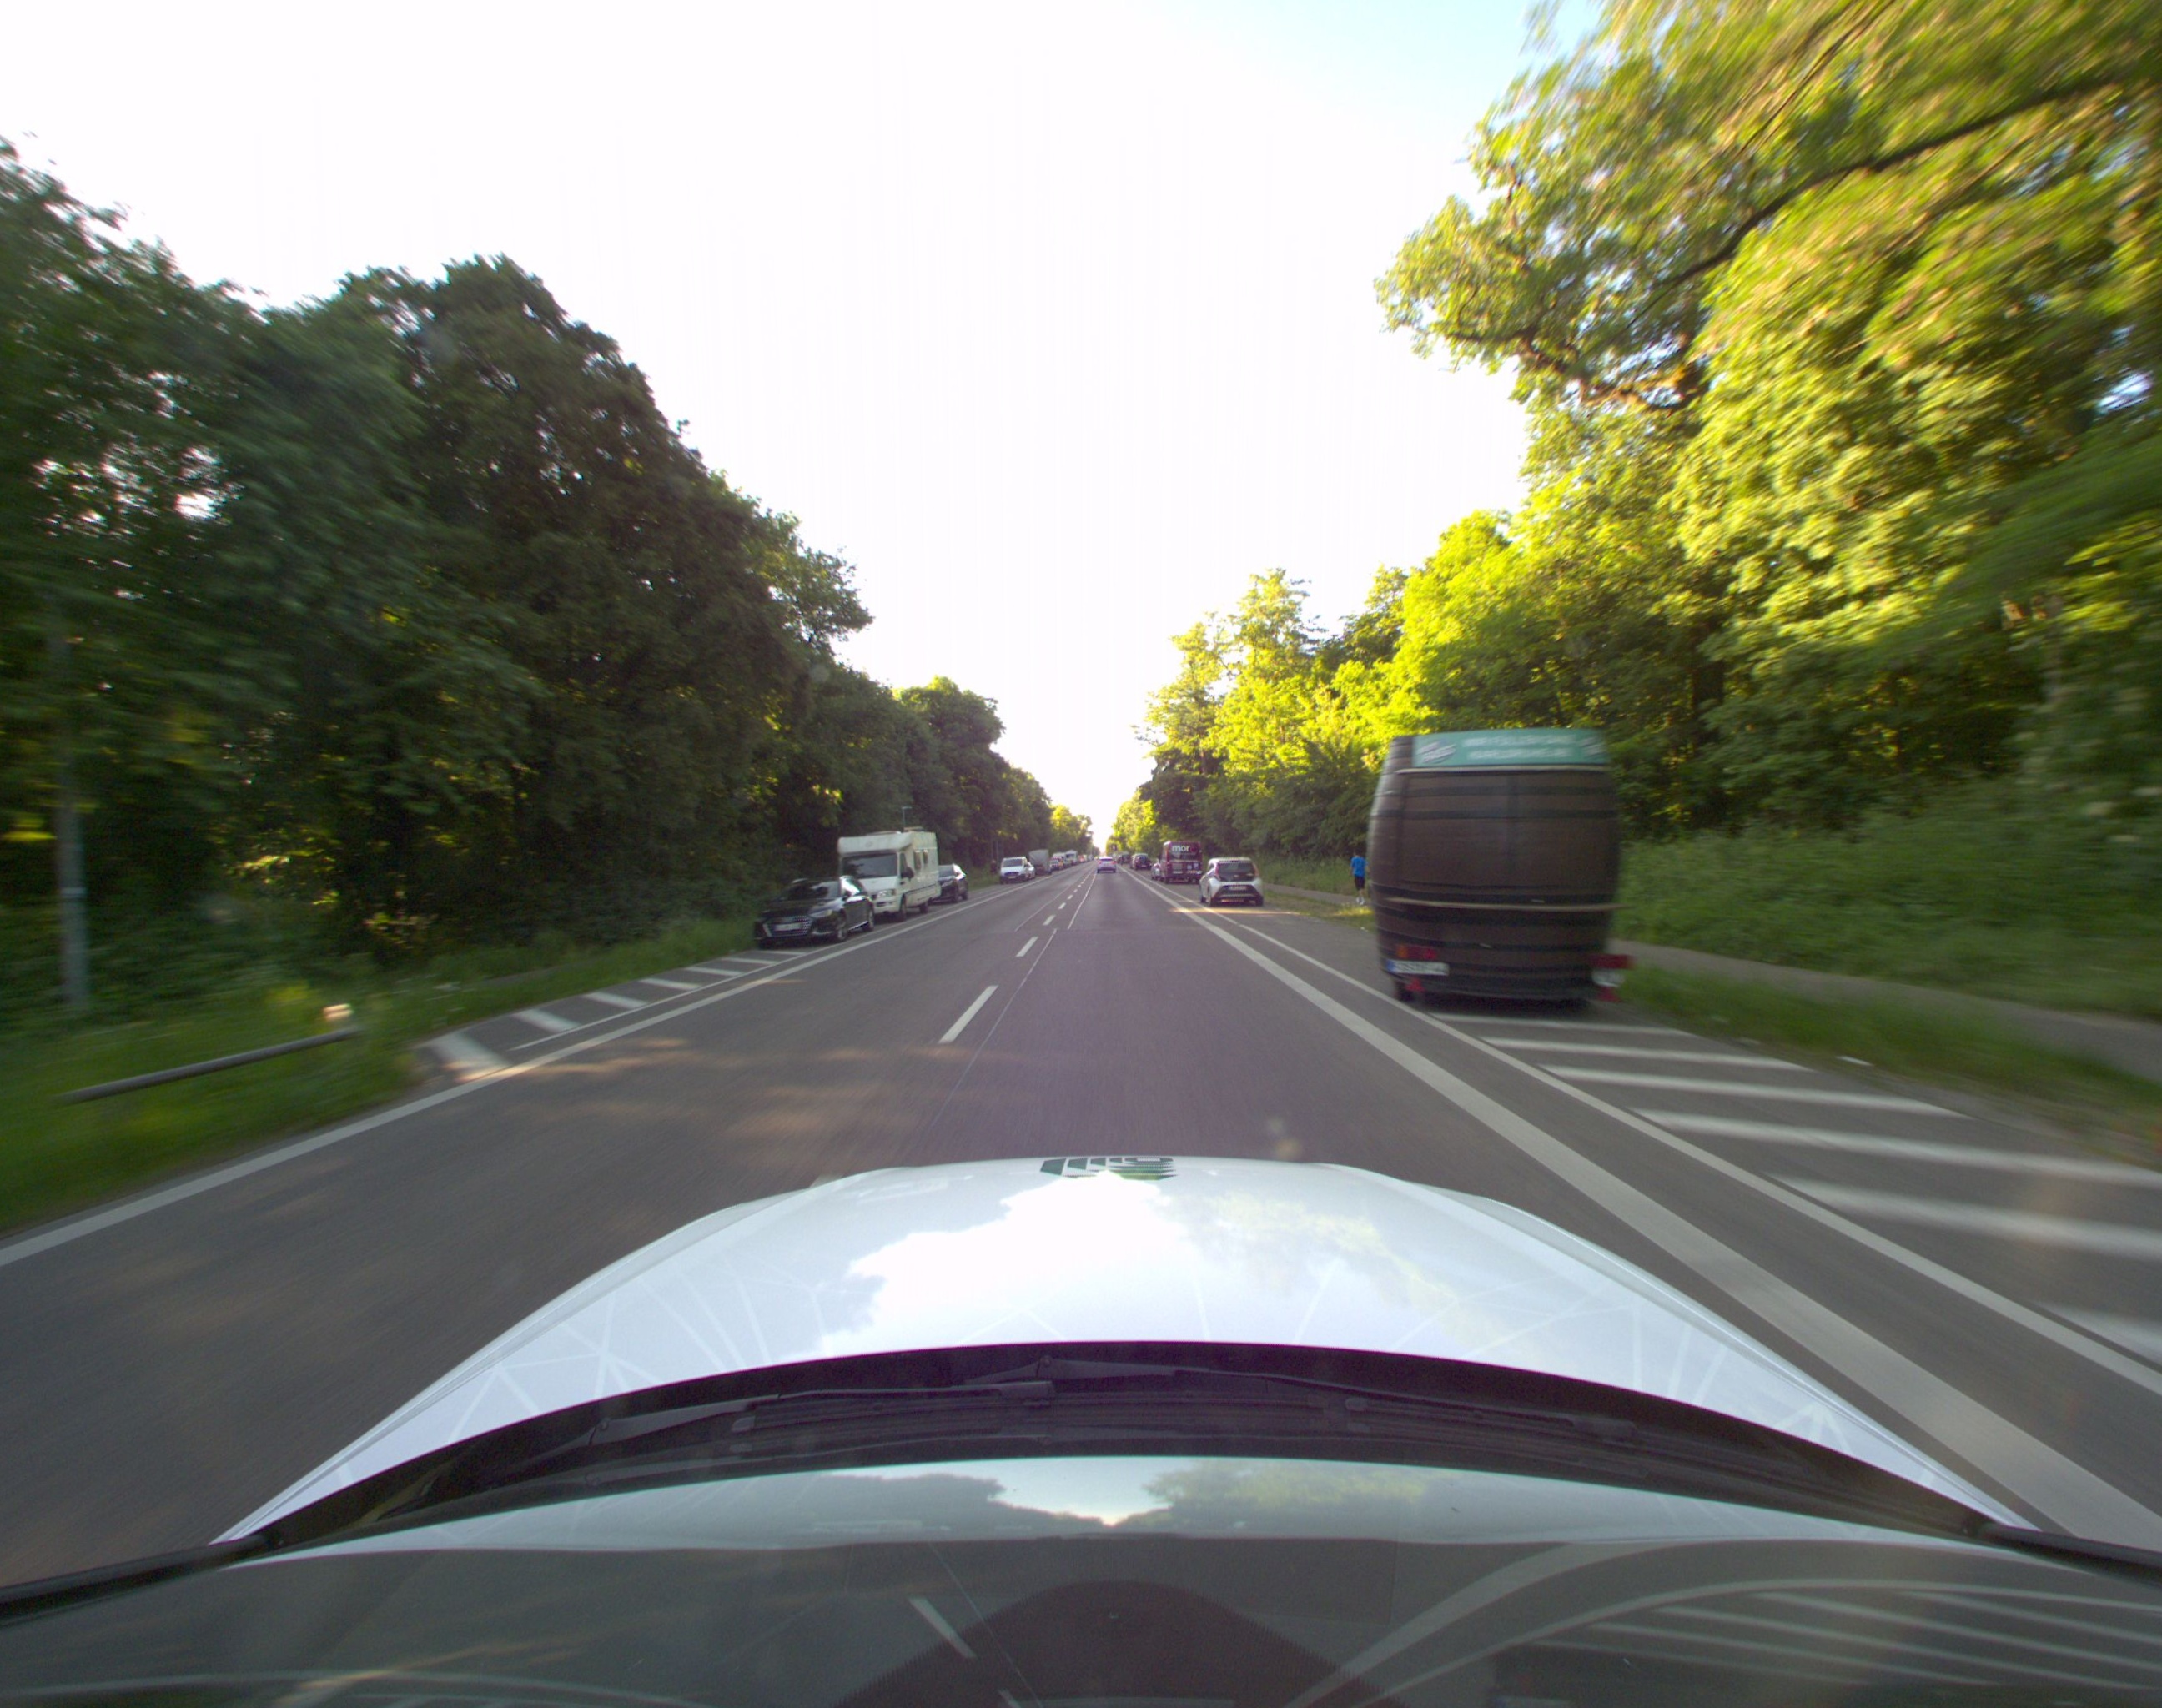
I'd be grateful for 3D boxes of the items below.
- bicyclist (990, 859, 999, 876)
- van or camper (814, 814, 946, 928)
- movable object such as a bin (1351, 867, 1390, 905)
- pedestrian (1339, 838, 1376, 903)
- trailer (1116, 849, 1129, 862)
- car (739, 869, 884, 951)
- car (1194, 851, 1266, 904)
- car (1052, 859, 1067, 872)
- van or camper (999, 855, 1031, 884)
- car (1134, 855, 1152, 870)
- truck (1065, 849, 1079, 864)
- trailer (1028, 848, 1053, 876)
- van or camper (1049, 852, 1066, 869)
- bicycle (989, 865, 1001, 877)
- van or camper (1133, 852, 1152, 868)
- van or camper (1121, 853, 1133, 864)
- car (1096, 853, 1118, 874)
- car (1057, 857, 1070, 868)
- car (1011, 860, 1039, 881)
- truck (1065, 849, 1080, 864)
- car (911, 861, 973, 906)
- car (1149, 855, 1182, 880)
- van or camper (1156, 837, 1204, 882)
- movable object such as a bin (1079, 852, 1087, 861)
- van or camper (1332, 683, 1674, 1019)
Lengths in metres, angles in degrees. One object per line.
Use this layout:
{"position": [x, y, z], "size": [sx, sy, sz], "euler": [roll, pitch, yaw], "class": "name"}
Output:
{"position": [-7.451, 1.156, 70.432], "size": [0.602, 1.374, 0.799], "euler": [-2, 0, 2], "class": "bicyclist"}
{"position": [-6.146, 0.483, 26.072], "size": [2.308, 2.969, 7.108], "euler": [-5, 0, -1], "class": "van or camper"}
{"position": [8.501, 0.939, 23.969], "size": [0.786, 1.047, 0.987], "euler": [-2, 0, 1], "class": "movable object such as a bin"}
{"position": [8.492, 0.504, 25.019], "size": [0.765, 1.918, 0.920], "euler": [-2, 0, 1], "class": "pedestrian"}
{"position": [9.794, 0.433, 191.694], "size": [2.747, 2.870, 6.591], "euler": [-2, 0, 2], "class": "trailer"}
{"position": [-6.057, 1.184, 18.939], "size": [1.822, 1.476, 4.678], "euler": [-4, 0, -1], "class": "car"}
{"position": [4.624, 0.695, 25.789], "size": [1.705, 1.545, 4.025], "euler": [0, 0, 3], "class": "car"}
{"position": [-2.862, 1.544, 109.862], "size": [1.725, 1.478, 4.326], "euler": [-4, 0, 2], "class": "car"}
{"position": [-4.854, 1.110, 60.421], "size": [1.829, 1.911, 4.856], "euler": [-4, 0, 1], "class": "van or camper"}
{"position": [6.567, 0.866, 86.990], "size": [1.684, 1.524, 4.151], "euler": [-1, 0, 2], "class": "car"}
{"position": [-2.042, 0.595, 187.530], "size": [2.697, 3.347, 10.927], "euler": [-2, 0, 2], "class": "truck"}
{"position": [-4.097, 0.773, 82.905], "size": [1.986, 2.597, 4.417], "euler": [-5, 0, 2], "class": "trailer"}
{"position": [-3.712, 1.058, 128.823], "size": [2.113, 2.572, 6.545], "euler": [-3, 0, 2], "class": "van or camper"}
{"position": [-7.436, 1.478, 70.426], "size": [0.649, 1.008, 2.397], "euler": [-2, 0, 2], "class": "bicycle"}
{"position": [7.004, 0.689, 93.508], "size": [1.944, 1.815, 4.382], "euler": [-2, 0, 2], "class": "van or camper"}
{"position": [8.329, 0.759, 146.631], "size": [1.986, 1.932, 5.201], "euler": [-1, 0, 2], "class": "van or camper"}
{"position": [2.491, 0.868, 78.476], "size": [2.021, 1.840, 4.031], "euler": [-3, 0, 2], "class": "car"}
{"position": [-2.961, 1.459, 139.818], "size": [1.774, 1.684, 4.380], "euler": [-4, 0, 2], "class": "car"}
{"position": [-4.588, 1.304, 67.114], "size": [1.768, 1.540, 4.525], "euler": [-4, 0, 1], "class": "car"}
{"position": [-1.777, 0.595, 176.046], "size": [2.697, 3.093, 7.992], "euler": [-2, 0, 2], "class": "truck"}
{"position": [-5.764, 1.178, 34.326], "size": [1.640, 1.632, 4.275], "euler": [-4, 0, 2], "class": "car"}
{"position": [5.528, 0.861, 53.763], "size": [1.742, 1.515, 3.999], "euler": [-1, 0, 0], "class": "car"}
{"position": [5.597, 0.315, 46.781], "size": [2.028, 2.312, 6.041], "euler": [-3, 0, 1], "class": "van or camper"}
{"position": [0.608, 0.678, 235.073], "size": [2.313, 2.501, 4.001], "euler": [-2, 0, 1], "class": "movable object such as a bin"}
{"position": [4.585, -0.046, 10.260], "size": [2.423, 2.799, 6.583], "euler": [-1, 0, 15], "class": "van or camper"}
